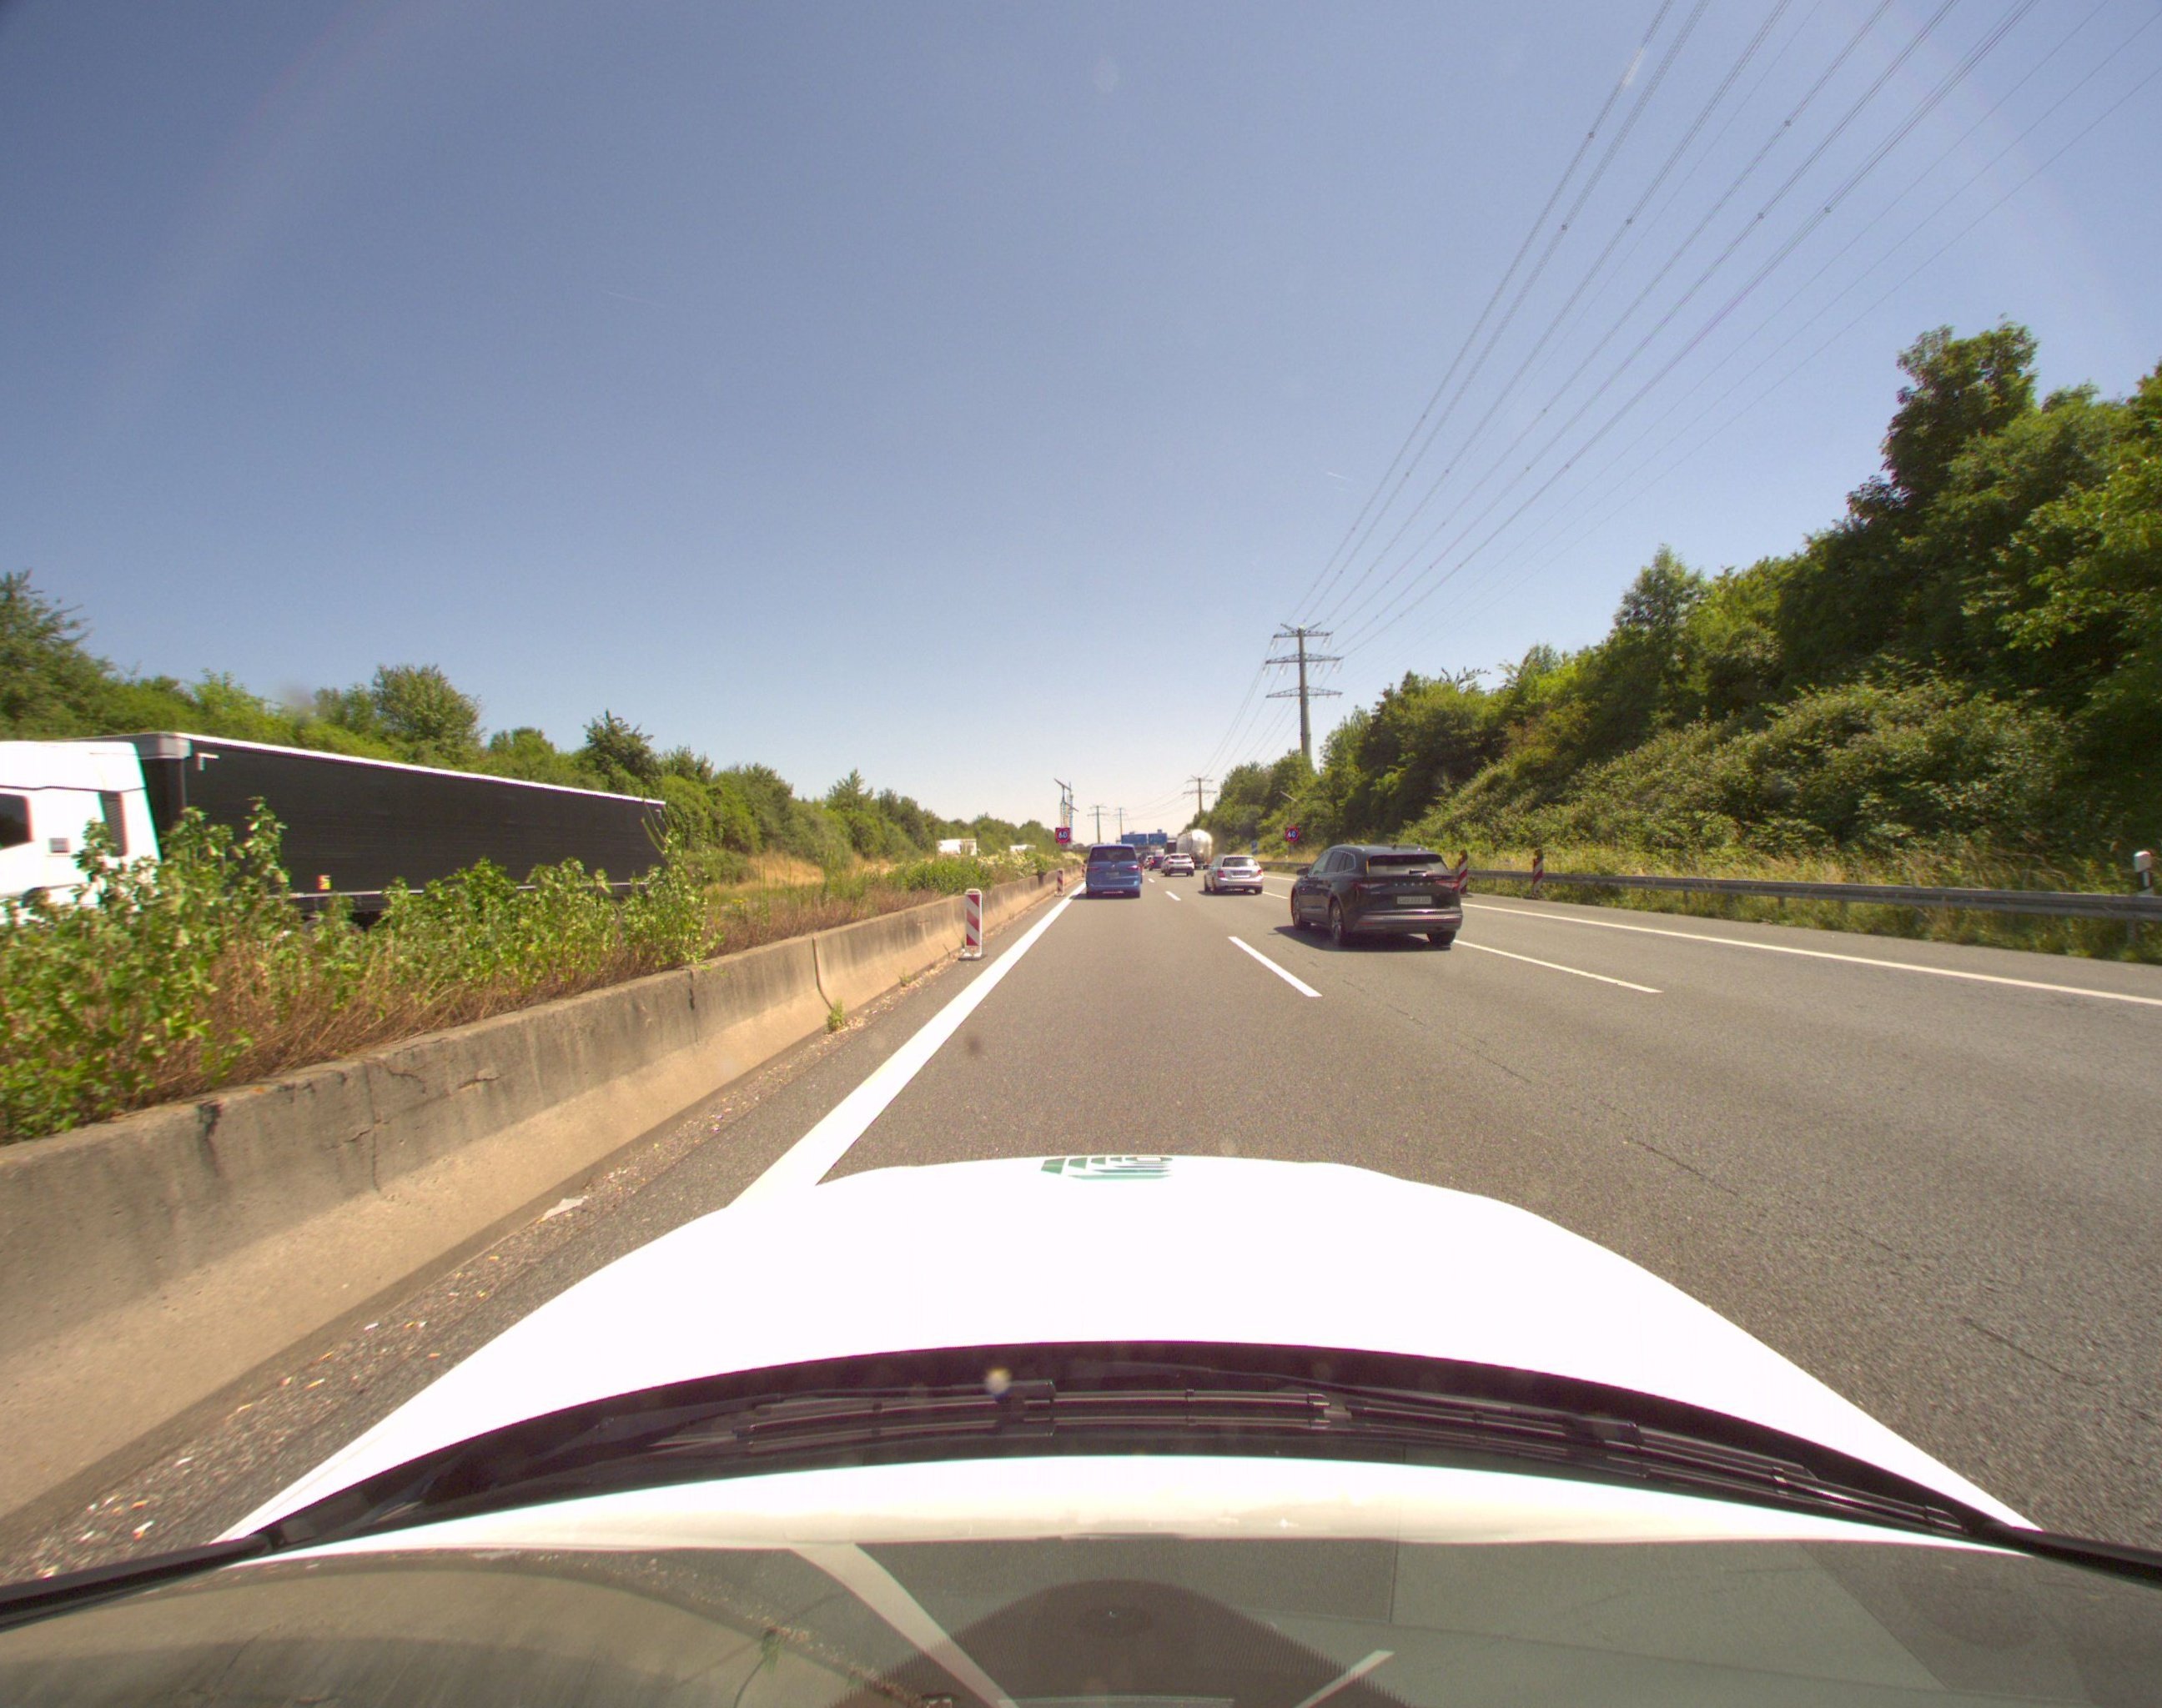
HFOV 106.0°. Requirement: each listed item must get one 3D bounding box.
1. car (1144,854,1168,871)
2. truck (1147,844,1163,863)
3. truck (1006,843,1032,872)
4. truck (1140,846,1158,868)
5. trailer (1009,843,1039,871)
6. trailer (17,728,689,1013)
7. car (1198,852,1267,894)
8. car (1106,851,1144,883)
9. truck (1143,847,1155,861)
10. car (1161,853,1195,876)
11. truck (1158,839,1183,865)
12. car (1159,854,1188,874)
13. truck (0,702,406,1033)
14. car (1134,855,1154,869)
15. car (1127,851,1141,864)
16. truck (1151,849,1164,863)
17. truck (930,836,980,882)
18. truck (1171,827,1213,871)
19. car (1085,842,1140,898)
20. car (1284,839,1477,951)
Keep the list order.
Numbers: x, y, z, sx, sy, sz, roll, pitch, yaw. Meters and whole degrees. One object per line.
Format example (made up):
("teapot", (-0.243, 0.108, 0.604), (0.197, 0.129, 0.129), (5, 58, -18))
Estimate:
("car", (7.091, 0.775, 77.471), (1.902, 1.516, 4.383), (0, 0, 1))
("truck", (16.948, -0.116, 187.242), (2.927, 4.291, 12.555), (0, 0, 1))
("truck", (-9.502, 0.482, 125.358), (3.005, 4.166, 5.809), (-5, 0, 2))
("truck", (8.486, 0.366, 102.347), (1.986, 2.723, 5.681), (0, 0, 1))
("trailer", (-9.161, 0.507, 133.088), (3.005, 4.166, 14.028), (-5, 0, 2))
("trailer", (-14.599, 0.277, 19.596), (2.742, 4.166, 14.203), (-5, 0, 2))
("car", (5.596, 0.673, 30.535), (1.815, 1.437, 4.383), (0, 0, 1))
("car", (2.291, 0.665, 43.584), (1.901, 1.631, 4.385), (-1, 0, 1))
("truck", (20.768, 0.002, 247.680), (2.927, 4.291, 12.555), (0, 0, 1))
("car", (6.557, 0.682, 55.379), (1.902, 1.508, 3.921), (0, 0, 1))
("truck", (13.013, -0.263, 119.311), (2.635, 3.539, 12.555), (0, 0, 1))
("car", (7.529, 0.775, 66.691), (1.902, 1.569, 4.383), (0, 0, 1))
("truck", (-14.863, 0.259, 12.791), (2.741, 4.166, 6.414), (-5, 0, 2))
("car", (6.959, 0.863, 89.914), (1.902, 1.516, 4.383), (0, 0, 1))
("car", (8.247, 0.530, 126.350), (1.986, 2.014, 4.001), (0, 0, 1))
("truck", (14.630, 0.351, 155.696), (1.986, 2.723, 5.681), (0, 0, 1))
("truck", (-11.868, 0.428, 77.441), (2.752, 3.888, 9.033), (-5, 0, 2))
("truck", (11.360, -0.443, 84.890), (2.635, 4.072, 16.445), (0, 0, 2))
("car", (1.074, 0.551, 29.513), (1.865, 1.879, 4.383), (0, 0, 0))
("car", (4.922, 0.595, 14.096), (1.821, 1.614, 4.432), (-1, 0, 2))
